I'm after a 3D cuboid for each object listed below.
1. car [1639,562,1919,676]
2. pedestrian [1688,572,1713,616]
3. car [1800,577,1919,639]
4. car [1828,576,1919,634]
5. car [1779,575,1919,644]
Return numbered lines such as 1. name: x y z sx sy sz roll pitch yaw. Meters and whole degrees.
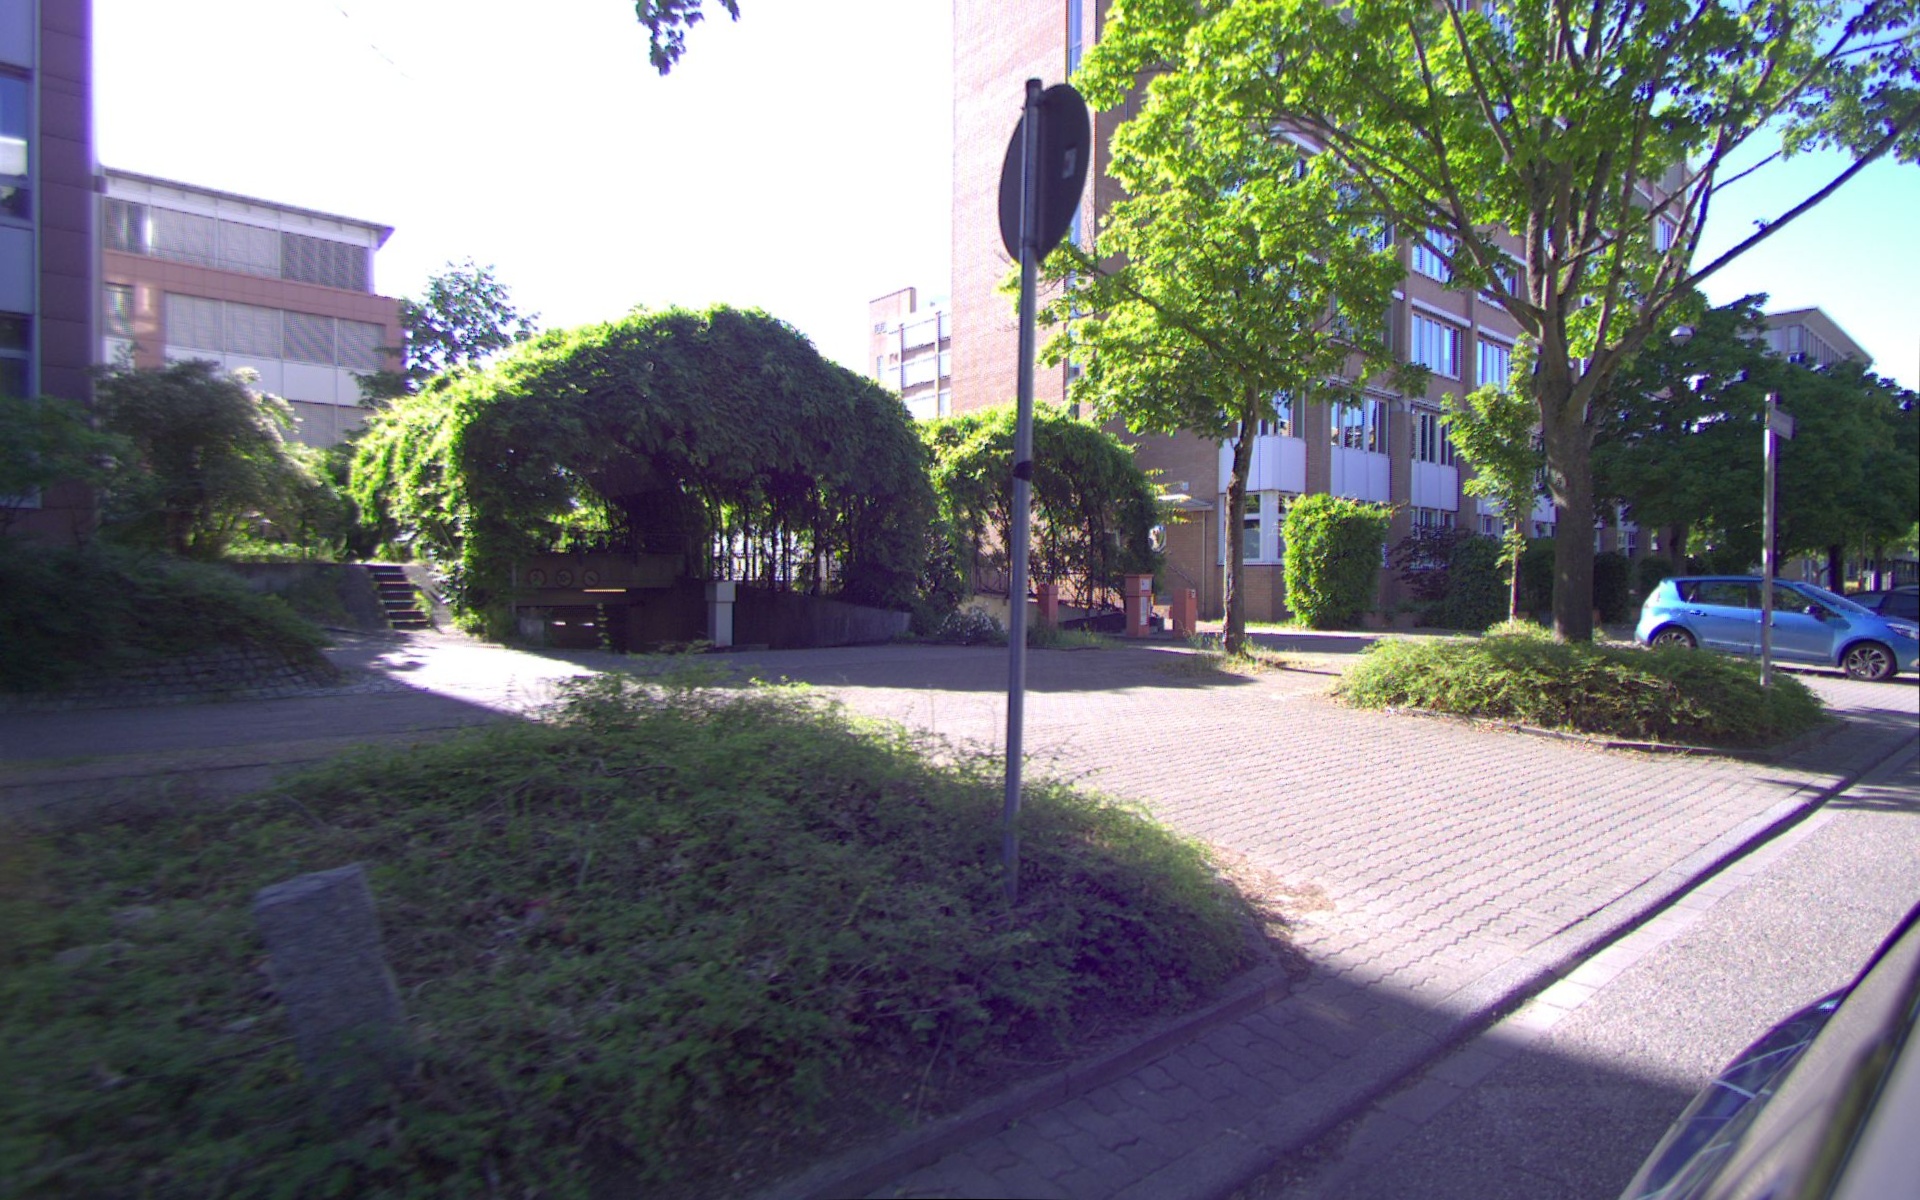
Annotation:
1. car: 14.811 0.258 17.745 1.878 1.637 4.416 0 4 -40
2. pedestrian: 26.310 -0.204 35.967 0.584 1.539 0.603 0 1 -43
3. car: 24.308 0.236 26.077 1.672 1.425 3.809 0 3 -41
4. car: 28.224 0.142 29.478 4.353 1.617 1.909 2 2 44
5. car: 22.838 0.232 24.892 1.792 1.501 3.856 0 3 -40
